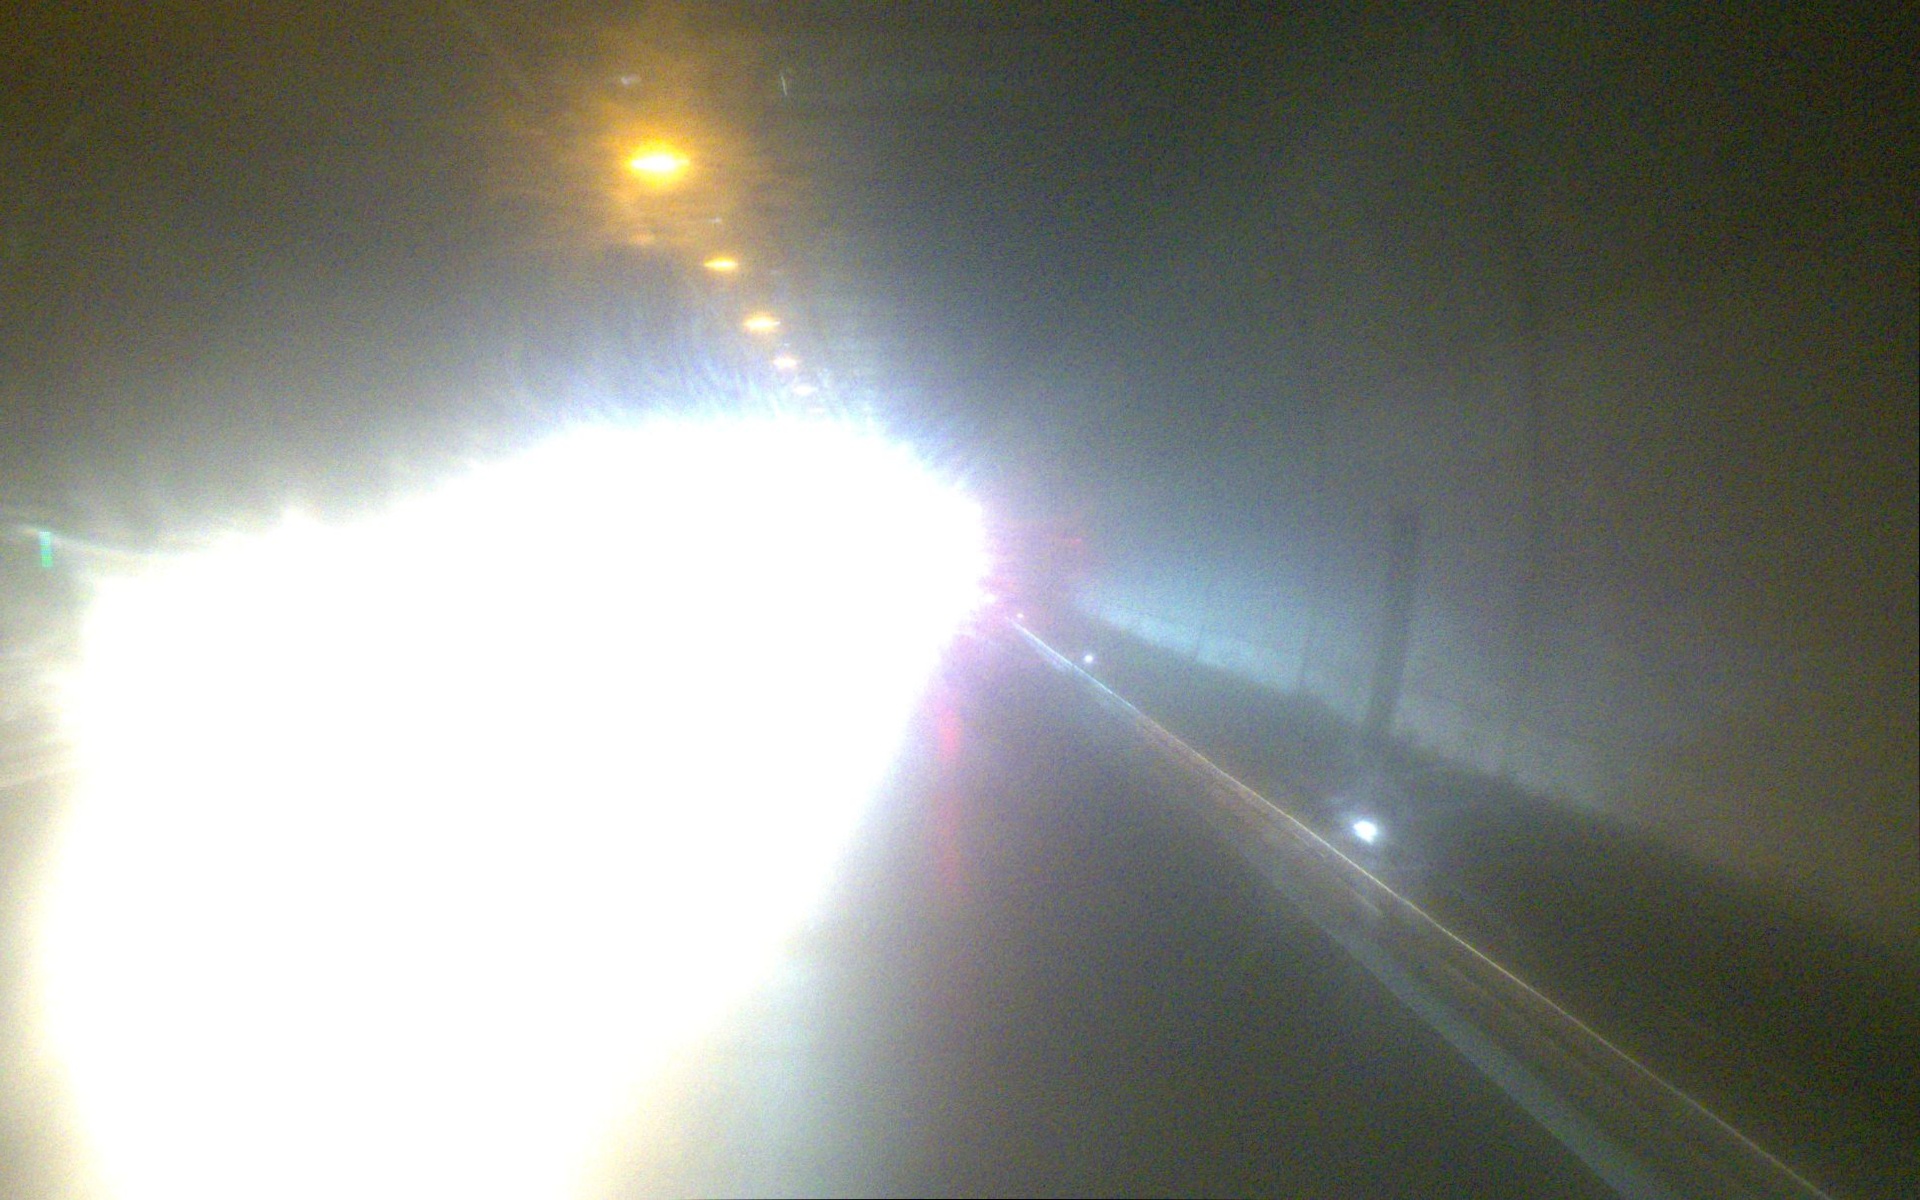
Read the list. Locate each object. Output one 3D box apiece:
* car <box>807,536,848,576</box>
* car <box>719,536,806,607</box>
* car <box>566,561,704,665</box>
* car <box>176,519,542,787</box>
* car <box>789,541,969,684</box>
[{"bbox_3d":[-6.727,-2.223,174.470,1.993,2.007,4.000,0,1,-1],"label":"car"},{"bbox_3d":[-4.945,-0.735,86.560,1.993,1.704,4.281,1,1,-1],"label":"car"},{"bbox_3d":[-4.625,0.155,49.334,1.690,1.417,3.625,0,1,-1],"label":"car"},{"bbox_3d":[-3.753,0.276,22.068,1.701,1.550,3.873,1,1,-1],"label":"car"},{"bbox_3d":[-0.987,0.120,42.217,2.089,1.656,4.000,0,1,-1],"label":"car"}]
